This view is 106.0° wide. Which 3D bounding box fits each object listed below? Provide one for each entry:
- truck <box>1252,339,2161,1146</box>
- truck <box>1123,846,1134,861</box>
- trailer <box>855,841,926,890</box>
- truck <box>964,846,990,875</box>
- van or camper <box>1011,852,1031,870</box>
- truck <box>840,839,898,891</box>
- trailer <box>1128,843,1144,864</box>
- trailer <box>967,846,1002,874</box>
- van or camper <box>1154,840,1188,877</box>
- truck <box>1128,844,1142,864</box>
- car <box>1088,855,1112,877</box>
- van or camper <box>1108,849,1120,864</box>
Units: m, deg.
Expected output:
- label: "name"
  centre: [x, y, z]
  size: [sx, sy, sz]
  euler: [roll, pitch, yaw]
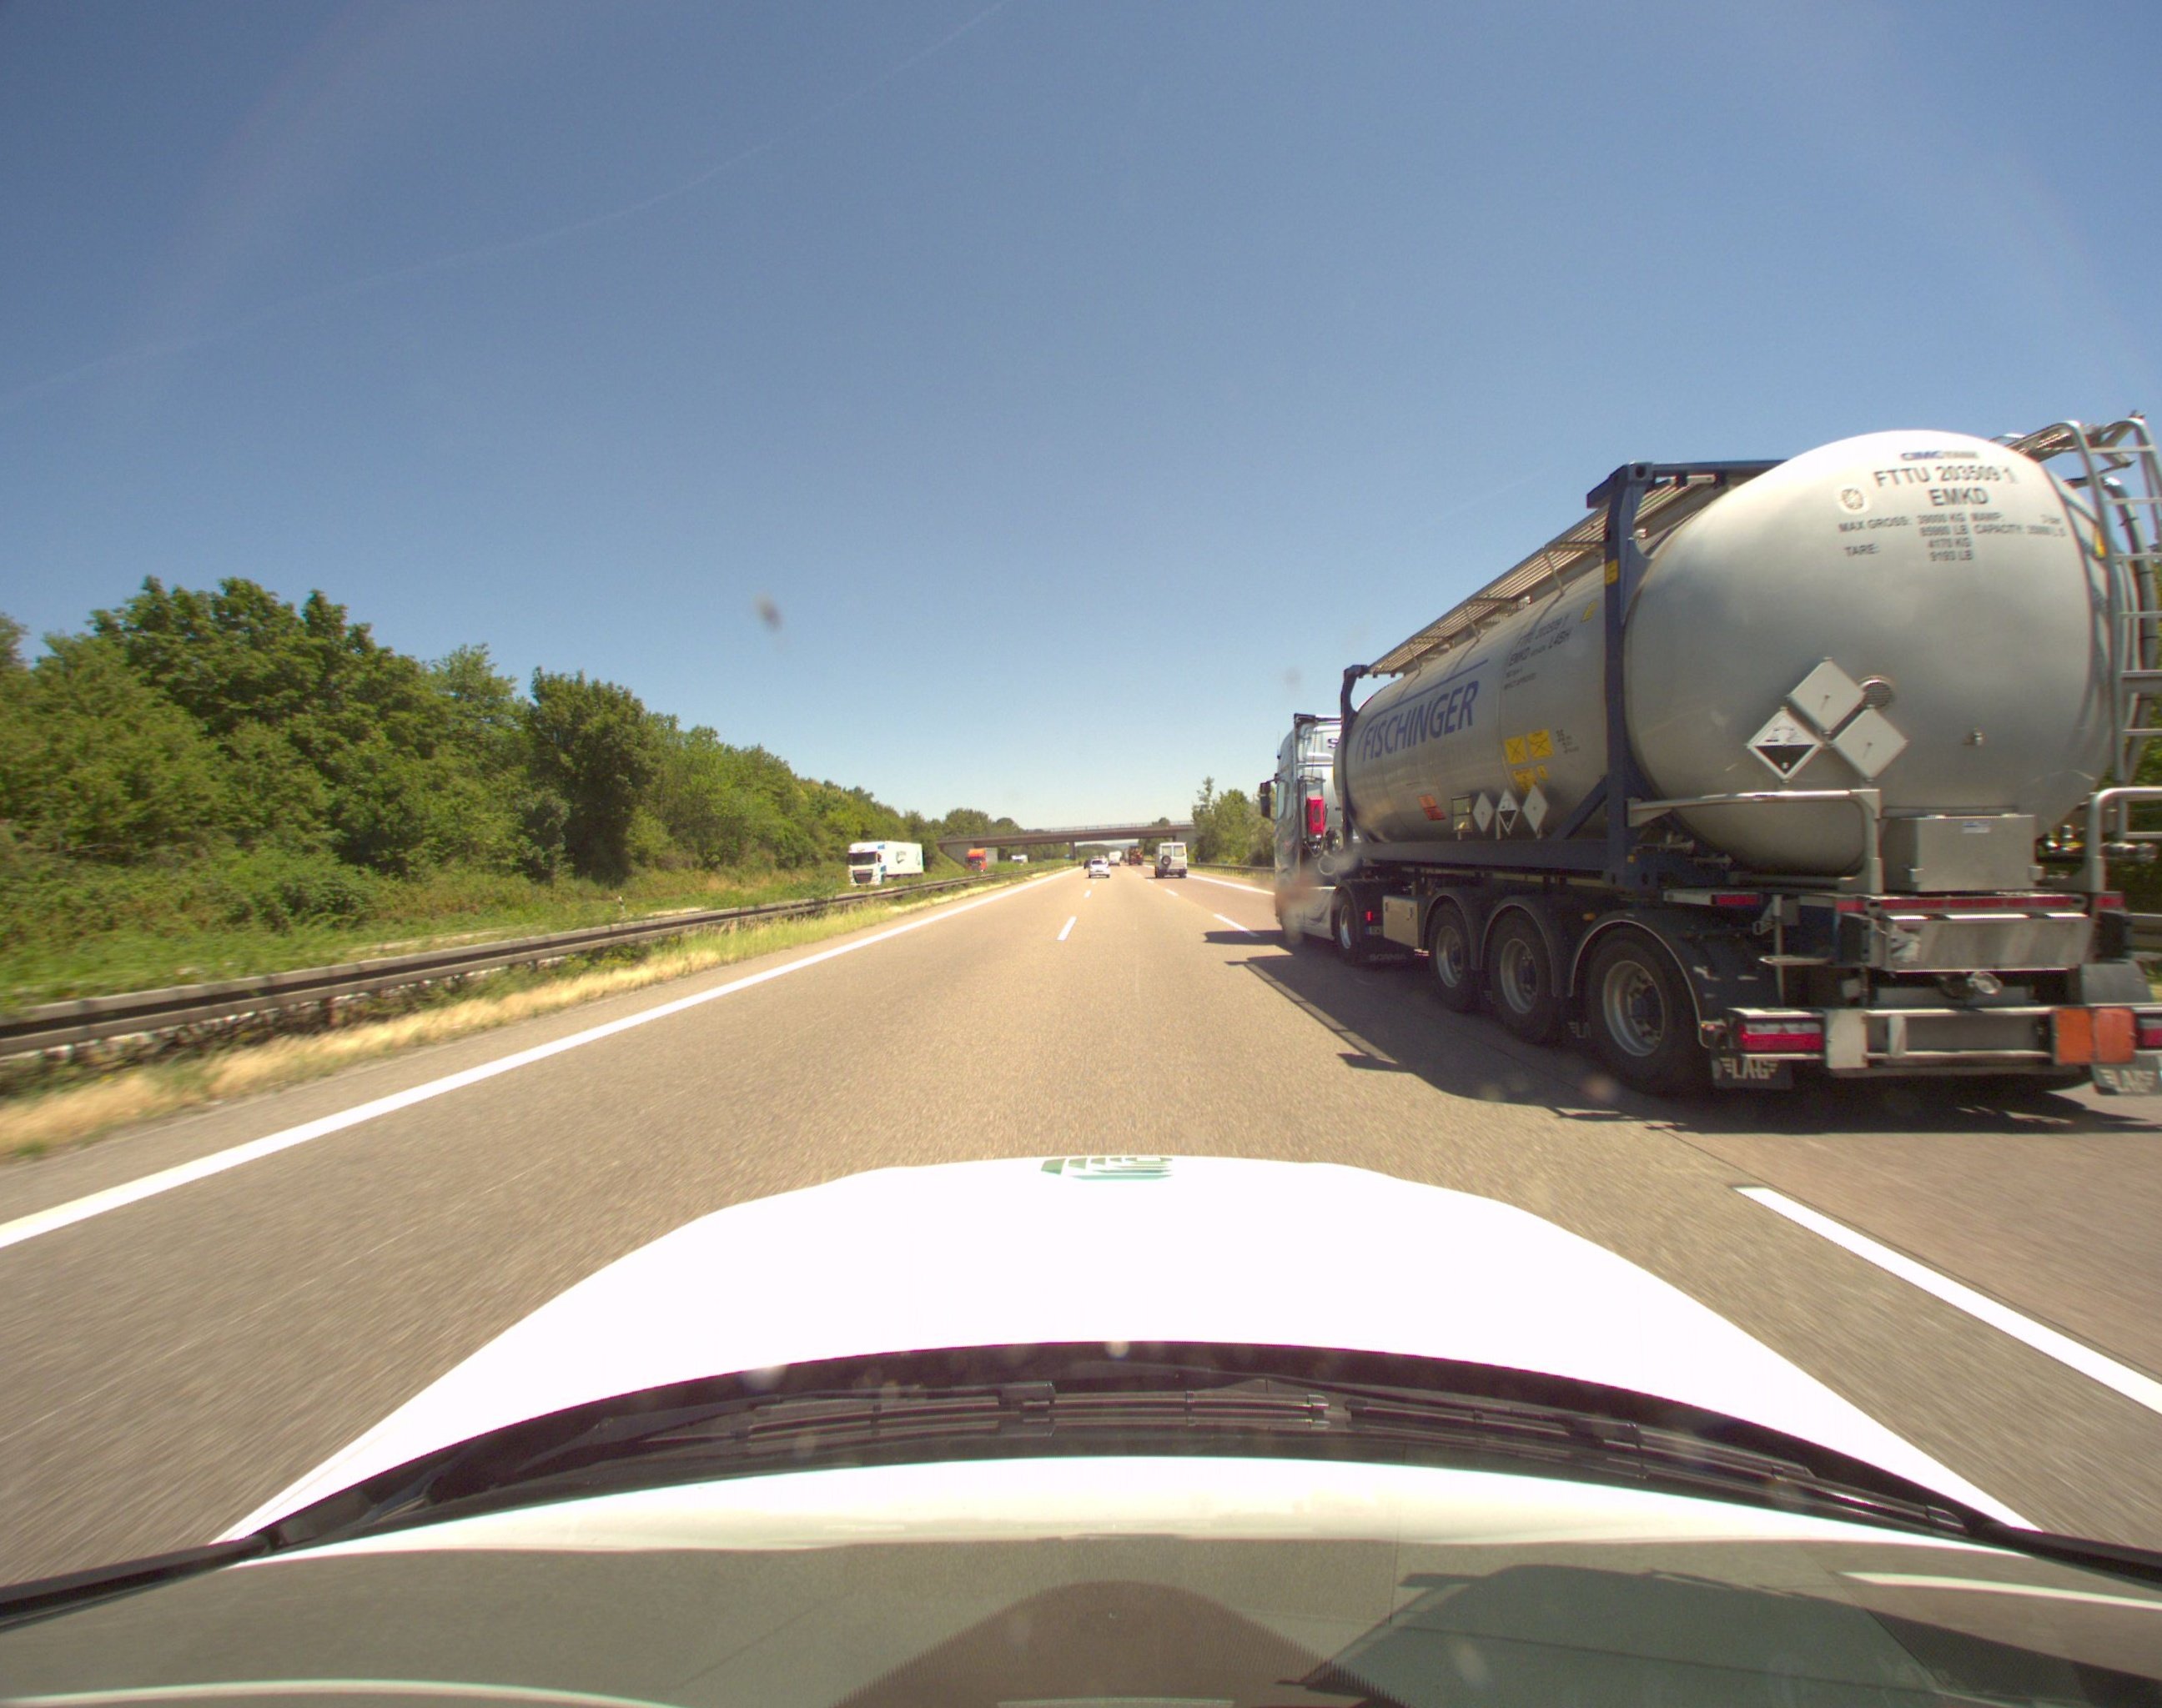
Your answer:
- label: "truck"
  centre: [4.876, -0.517, 10.763]
  size: [2.788, 4.046, 13.358]
  euler: [0, 0, 2]
- label: "truck"
  centre: [13.981, -0.196, 240.207]
  size: [3.066, 4.209, 16.857]
  euler: [0, 0, 3]
- label: "trailer"
  centre: [-17.694, 1.018, 76.762]
  size: [3.163, 4.191, 12.992]
  euler: [0, 0, 2]
- label: "truck"
  centre: [-15.756, 0.969, 123.676]
  size: [3.125, 4.231, 5.178]
  euler: [0, -1, 2]
- label: "van or camper"
  centre: [-10.610, 1.239, 144.273]
  size: [2.602, 2.967, 7.865]
  euler: [0, -1, 3]
- label: "truck"
  centre: [-17.975, 0.920, 69.375]
  size: [3.182, 4.149, 5.946]
  euler: [0, -1, 2]
- label: "trailer"
  centre: [10.783, -0.086, 160.629]
  size: [2.642, 3.958, 13.645]
  euler: [-1, 0, 3]
- label: "trailer"
  centre: [-15.395, 1.029, 131.376]
  size: [3.132, 4.248, 14.488]
  euler: [0, 0, 3]
- label: "van or camper"
  centre: [6.859, 0.367, 62.655]
  size: [2.106, 2.703, 6.369]
  euler: [-1, -1, 2]
- label: "truck"
  centre: [11.131, -0.008, 167.707]
  size: [2.659, 3.994, 6.640]
  euler: [-1, 0, 3]
- label: "car"
  centre: [1.552, 0.961, 66.104]
  size: [1.850, 1.652, 4.001]
  euler: [0, -1, 1]
- label: "van or camper"
  centre: [5.974, 0.523, 148.020]
  size: [2.050, 2.622, 5.989]
  euler: [-1, -1, 3]
